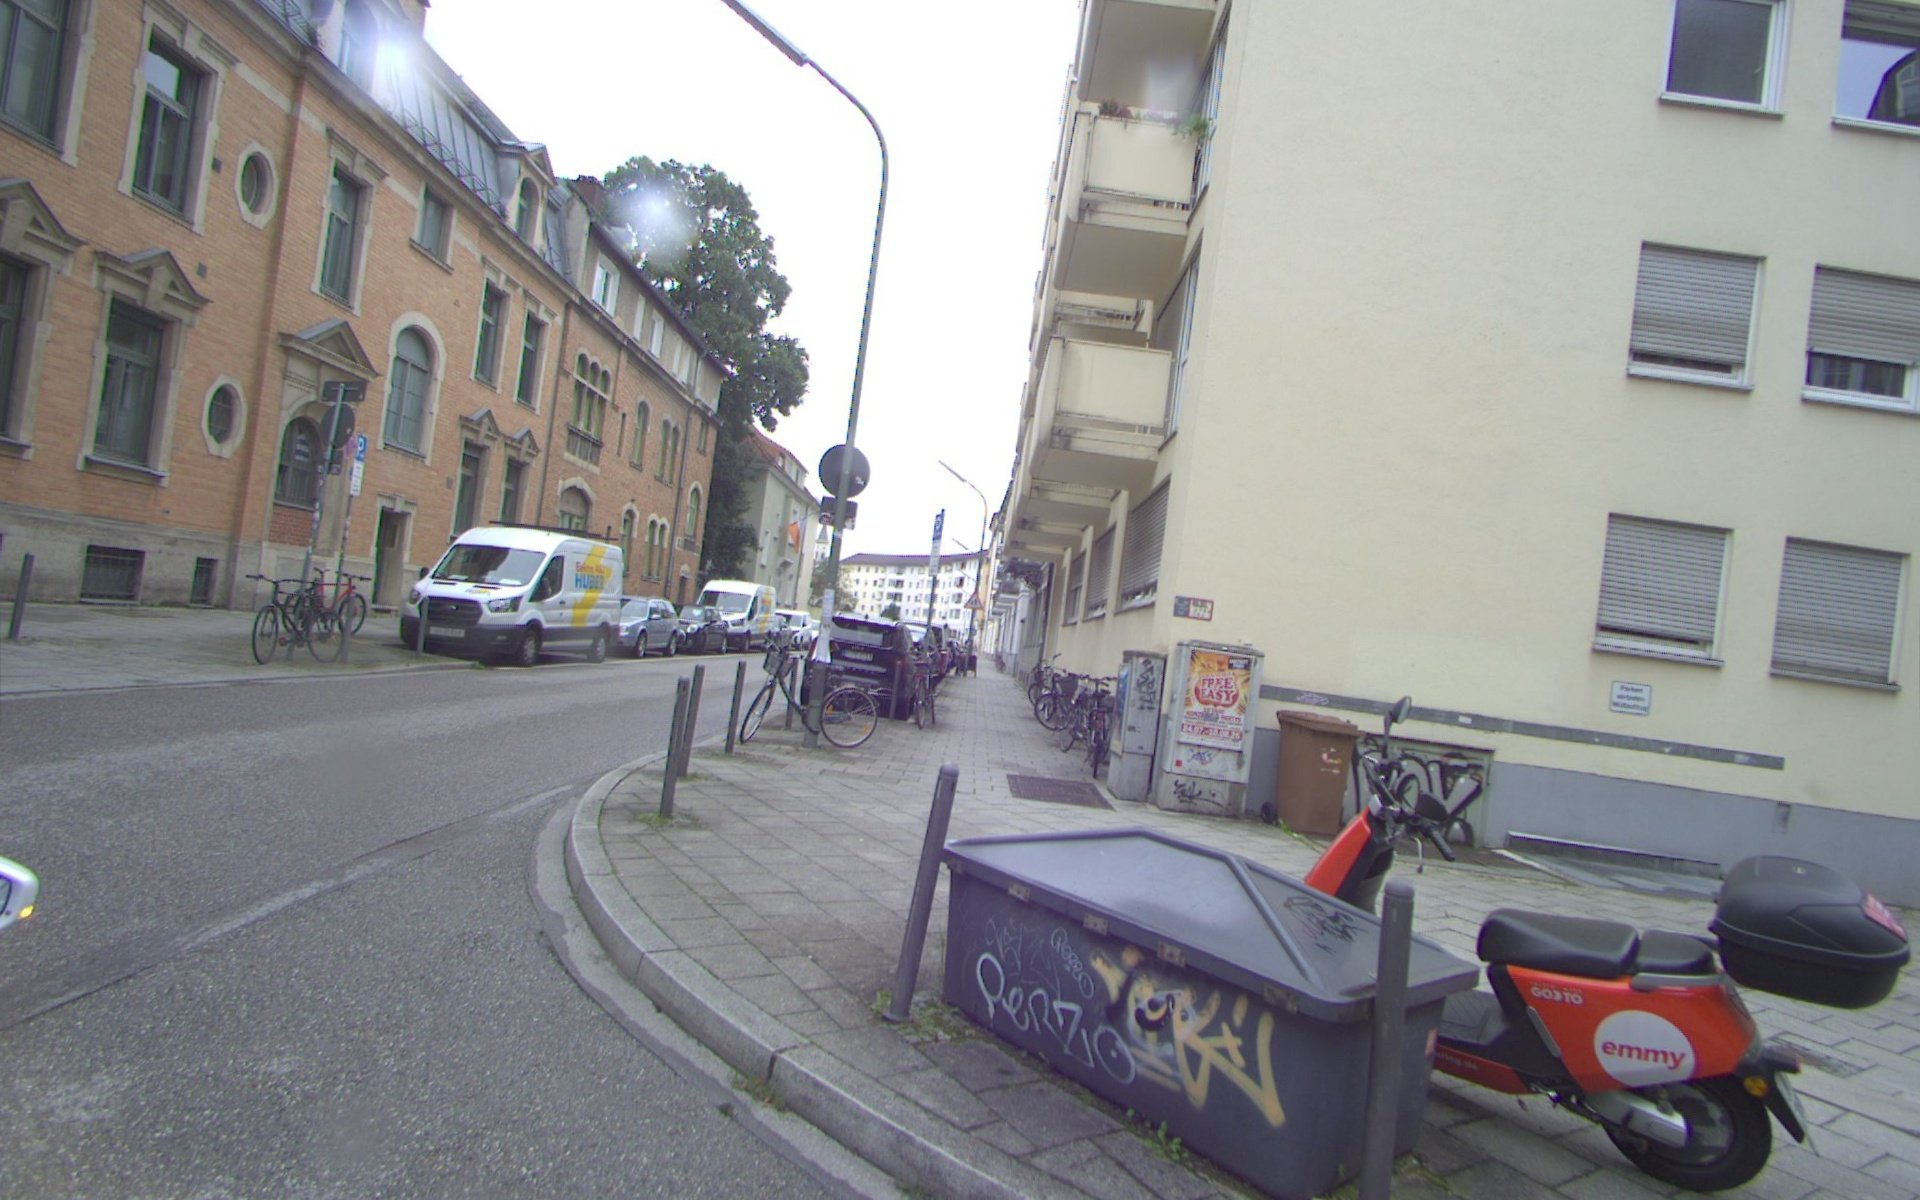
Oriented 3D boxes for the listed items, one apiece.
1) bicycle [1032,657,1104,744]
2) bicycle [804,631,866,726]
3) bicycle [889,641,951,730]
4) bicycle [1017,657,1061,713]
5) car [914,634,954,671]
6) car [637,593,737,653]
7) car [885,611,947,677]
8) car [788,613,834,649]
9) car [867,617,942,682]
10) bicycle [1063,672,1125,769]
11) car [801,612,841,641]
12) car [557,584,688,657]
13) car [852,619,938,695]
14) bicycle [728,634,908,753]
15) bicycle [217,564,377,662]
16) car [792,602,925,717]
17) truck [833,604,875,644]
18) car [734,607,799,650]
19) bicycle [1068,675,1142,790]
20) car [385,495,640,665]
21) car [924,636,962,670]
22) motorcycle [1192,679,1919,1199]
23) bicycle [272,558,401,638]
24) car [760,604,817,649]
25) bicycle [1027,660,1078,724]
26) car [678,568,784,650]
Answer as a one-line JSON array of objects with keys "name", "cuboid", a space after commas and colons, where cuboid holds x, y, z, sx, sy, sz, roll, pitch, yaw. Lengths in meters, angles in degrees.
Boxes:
[{"name": "bicycle", "cuboid": [1.712, 1.583, 16.211, 0.677, 1.220, 1.763, 7, -2, -5]}, {"name": "bicycle", "cuboid": [-1.785, 1.060, 14.130, 0.572, 1.167, 1.960, 7, -2, -12]}, {"name": "bicycle", "cuboid": [-0.563, 1.245, 14.941, 0.570, 1.167, 1.966, 7, -2, 5]}, {"name": "bicycle", "cuboid": [1.682, 1.799, 21.650, 0.571, 1.066, 1.763, 7, -2, -4]}, {"name": "car", "cuboid": [-1.162, 2.433, 46.382, 1.584, 1.450, 3.623, 7, -3, 1]}, {"name": "car", "cuboid": [-8.006, 0.737, 29.818, 1.672, 1.447, 3.834, 7, -3, 2]}, {"name": "car", "cuboid": [-1.509, 1.580, 36.219, 1.841, 1.989, 4.821, 7, -3, 0]}, {"name": "car", "cuboid": [-7.667, 1.641, 52.181, 1.819, 1.557, 4.002, 7, -3, -3]}, {"name": "car", "cuboid": [-1.597, 1.499, 30.510, 1.831, 1.568, 4.757, 7, -3, 0]}, {"name": "bicycle", "cuboid": [1.689, 1.499, 12.898, 0.570, 1.066, 1.765, 7, -2, 5]}, {"name": "car", "cuboid": [-7.844, 1.536, 57.035, 1.725, 1.384, 4.002, 8, -3, -3]}, {"name": "car", "cuboid": [-8.094, 0.549, 24.532, 1.662, 1.471, 4.000, 5, -2, 1]}, {"name": "car", "cuboid": [-1.537, 1.395, 25.159, 1.702, 1.475, 4.420, 9, -2, 0]}, {"name": "bicycle", "cuboid": [-1.585, 1.040, 11.199, 1.739, 1.078, 0.772, 8, -2, -22]}, {"name": "bicycle", "cuboid": [-8.116, 0.200, 12.418, 0.570, 1.066, 1.765, 7, -2, 5]}, {"name": "car", "cuboid": [-1.737, 1.083, 18.722, 1.822, 1.657, 4.554, 7, -3, 0]}, {"name": "truck", "cuboid": [-7.273, 1.710, 69.458, 1.963, 2.345, 5.416, 7, -3, 2]}, {"name": "car", "cuboid": [-7.832, 1.212, 41.031, 1.717, 1.461, 4.004, 7, -3, 0]}, {"name": "bicycle", "cuboid": [1.572, 1.409, 11.115, 0.570, 1.066, 1.765, 7, -2, 5]}, {"name": "car", "cuboid": [-7.945, -0.182, 18.647, 1.961, 2.496, 5.477, 6, -3, 1]}, {"name": "car", "cuboid": [-0.843, 2.730, 51.857, 1.623, 1.450, 4.005, 7, -3, 2]}, {"name": "motorcycle", "cuboid": [1.978, 1.094, 3.370, 2.051, 1.371, 0.816, 6, -2, 34]}, {"name": "bicycle", "cuboid": [-9.736, 0.008, 15.805, 0.570, 1.065, 1.897, 8, -2, 5]}, {"name": "car", "cuboid": [-7.736, 1.257, 45.652, 1.793, 1.730, 4.003, 7, -3, -1]}, {"name": "bicycle", "cuboid": [1.765, 1.760, 19.543, 0.571, 1.066, 1.838, 7, -2, -4]}, {"name": "car", "cuboid": [-7.859, 0.411, 35.148, 2.104, 2.375, 5.375, 7, -3, 1]}]
